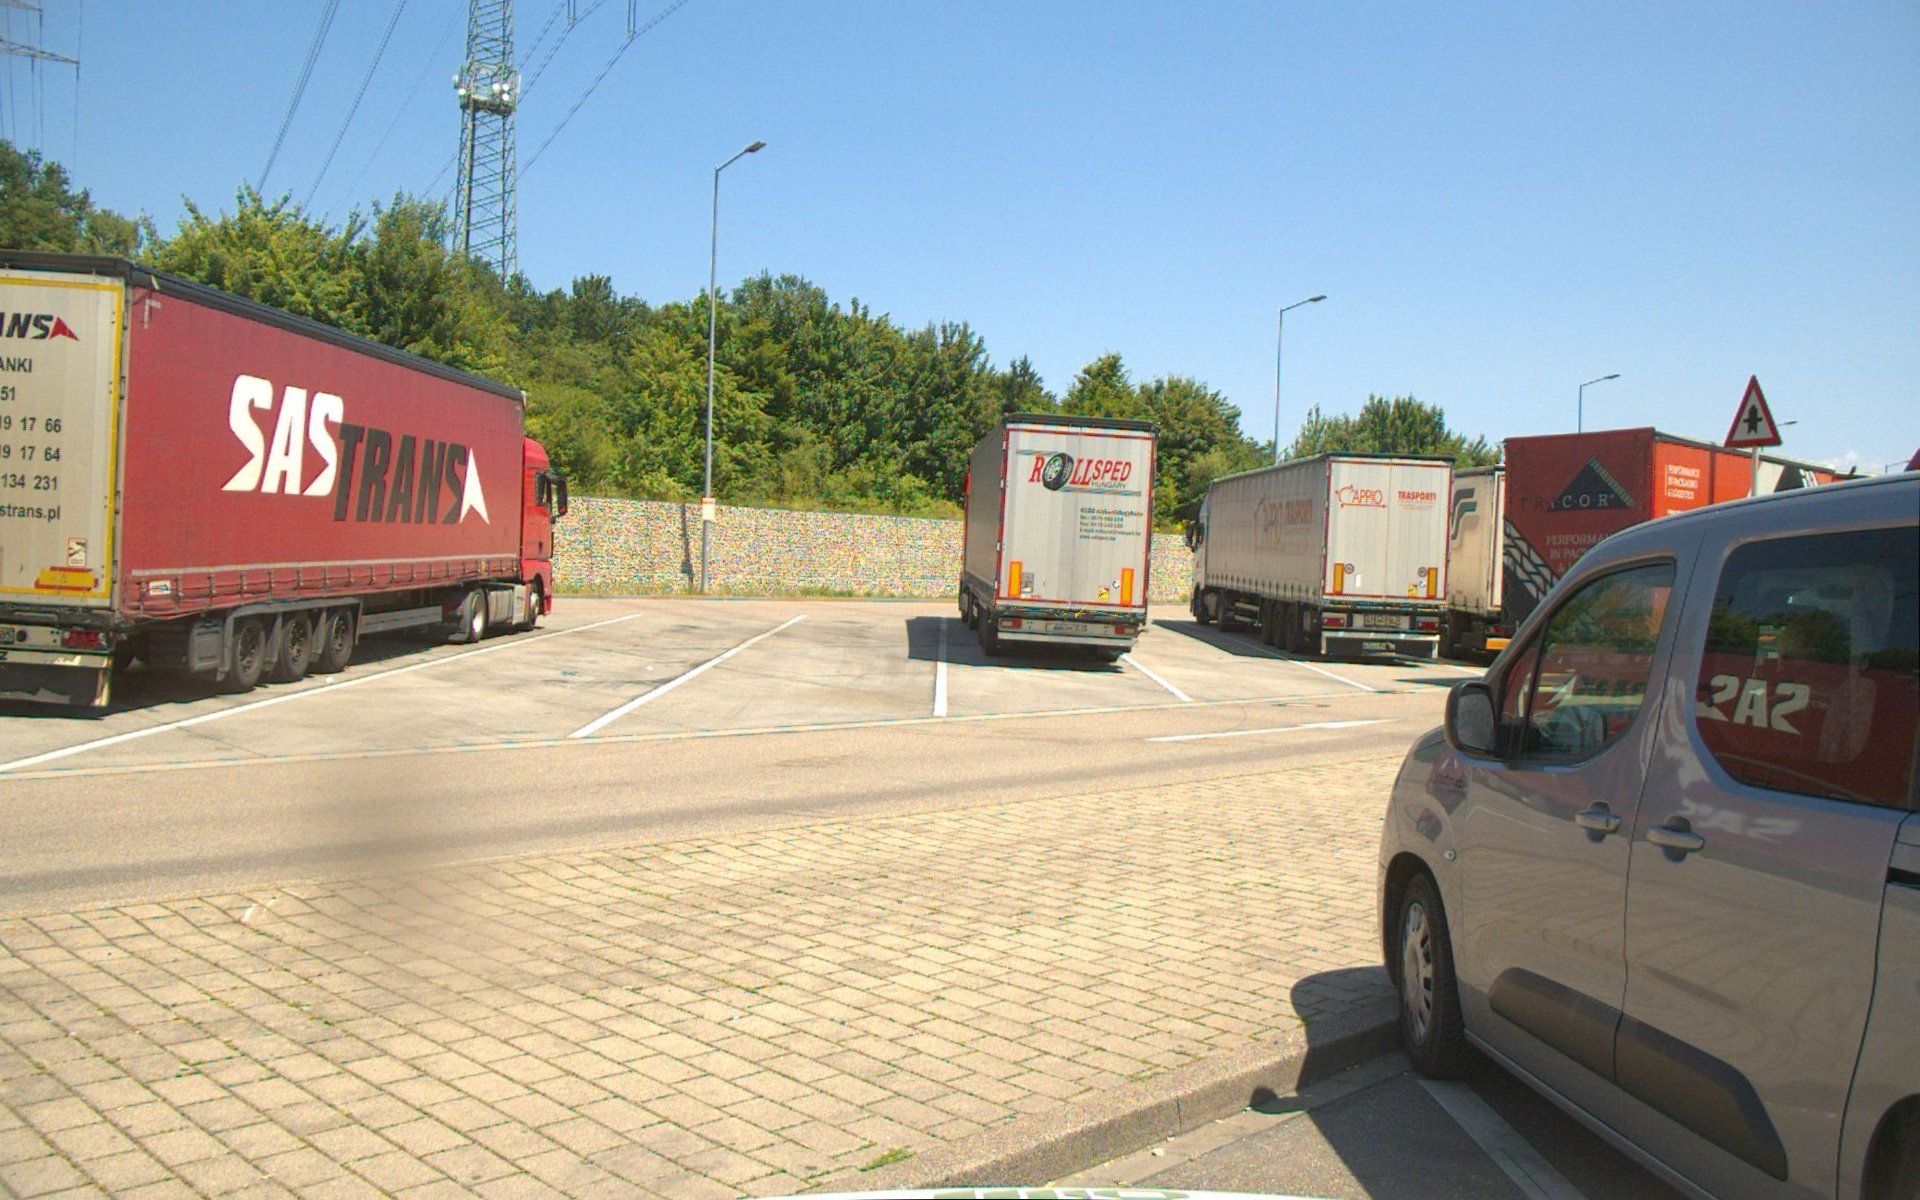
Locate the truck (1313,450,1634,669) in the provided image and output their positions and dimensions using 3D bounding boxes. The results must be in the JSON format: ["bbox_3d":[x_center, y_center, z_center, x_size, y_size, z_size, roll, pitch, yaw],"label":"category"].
[{"bbox_3d":[11.711,-0.952,40.003,2.846,4.195,14.525,3,1,-1],"label":"truck"}]

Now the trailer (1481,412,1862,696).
[{"bbox_3d":[12.771,-0.741,29.221,8.610,4.332,2.800,0,1,-42],"label":"trailer"}]

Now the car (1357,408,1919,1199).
[{"bbox_3d":[2.430,0.560,3.825,1.790,1.784,3.997,1,1,-4],"label":"car"}]

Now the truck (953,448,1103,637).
[{"bbox_3d":[1.461,-1.378,39.452,2.965,3.997,6.845,2,2,-2],"label":"truck"}]

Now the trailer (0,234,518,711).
[{"bbox_3d":[-8.684,-1.259,21.023,2.694,4.128,13.284,1,1,-1],"label":"trailer"}]

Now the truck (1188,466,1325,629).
[{"bbox_3d":[8.066,-1.408,45.618,2.701,4.196,5.283,1,1,-1],"label":"truck"}]

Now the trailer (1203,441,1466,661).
[{"bbox_3d":[8.200,-1.083,38.619,2.818,4.196,13.569,1,1,-1],"label":"trailer"}]

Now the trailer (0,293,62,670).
[{"bbox_3d":[-12.412,-1.312,15.455,2.689,4.337,9.733,1,1,0],"label":"trailer"}]

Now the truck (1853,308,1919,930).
[{"bbox_3d":[4.977,0.133,4.946,1.952,2.669,5.305,1,1,3],"label":"truck"}]

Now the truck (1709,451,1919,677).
[{"bbox_3d":[20.102,-0.695,34.741,10.469,4.199,2.664,0,1,-33],"label":"truck"}]

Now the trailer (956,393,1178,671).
[{"bbox_3d":[1.694,-1.313,32.687,3.008,4.301,12.805,2,2,-2],"label":"trailer"}]

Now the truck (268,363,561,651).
[{"bbox_3d":[-8.779,-1.422,27.546,2.687,4.152,6.828,1,1,-1],"label":"truck"}]
